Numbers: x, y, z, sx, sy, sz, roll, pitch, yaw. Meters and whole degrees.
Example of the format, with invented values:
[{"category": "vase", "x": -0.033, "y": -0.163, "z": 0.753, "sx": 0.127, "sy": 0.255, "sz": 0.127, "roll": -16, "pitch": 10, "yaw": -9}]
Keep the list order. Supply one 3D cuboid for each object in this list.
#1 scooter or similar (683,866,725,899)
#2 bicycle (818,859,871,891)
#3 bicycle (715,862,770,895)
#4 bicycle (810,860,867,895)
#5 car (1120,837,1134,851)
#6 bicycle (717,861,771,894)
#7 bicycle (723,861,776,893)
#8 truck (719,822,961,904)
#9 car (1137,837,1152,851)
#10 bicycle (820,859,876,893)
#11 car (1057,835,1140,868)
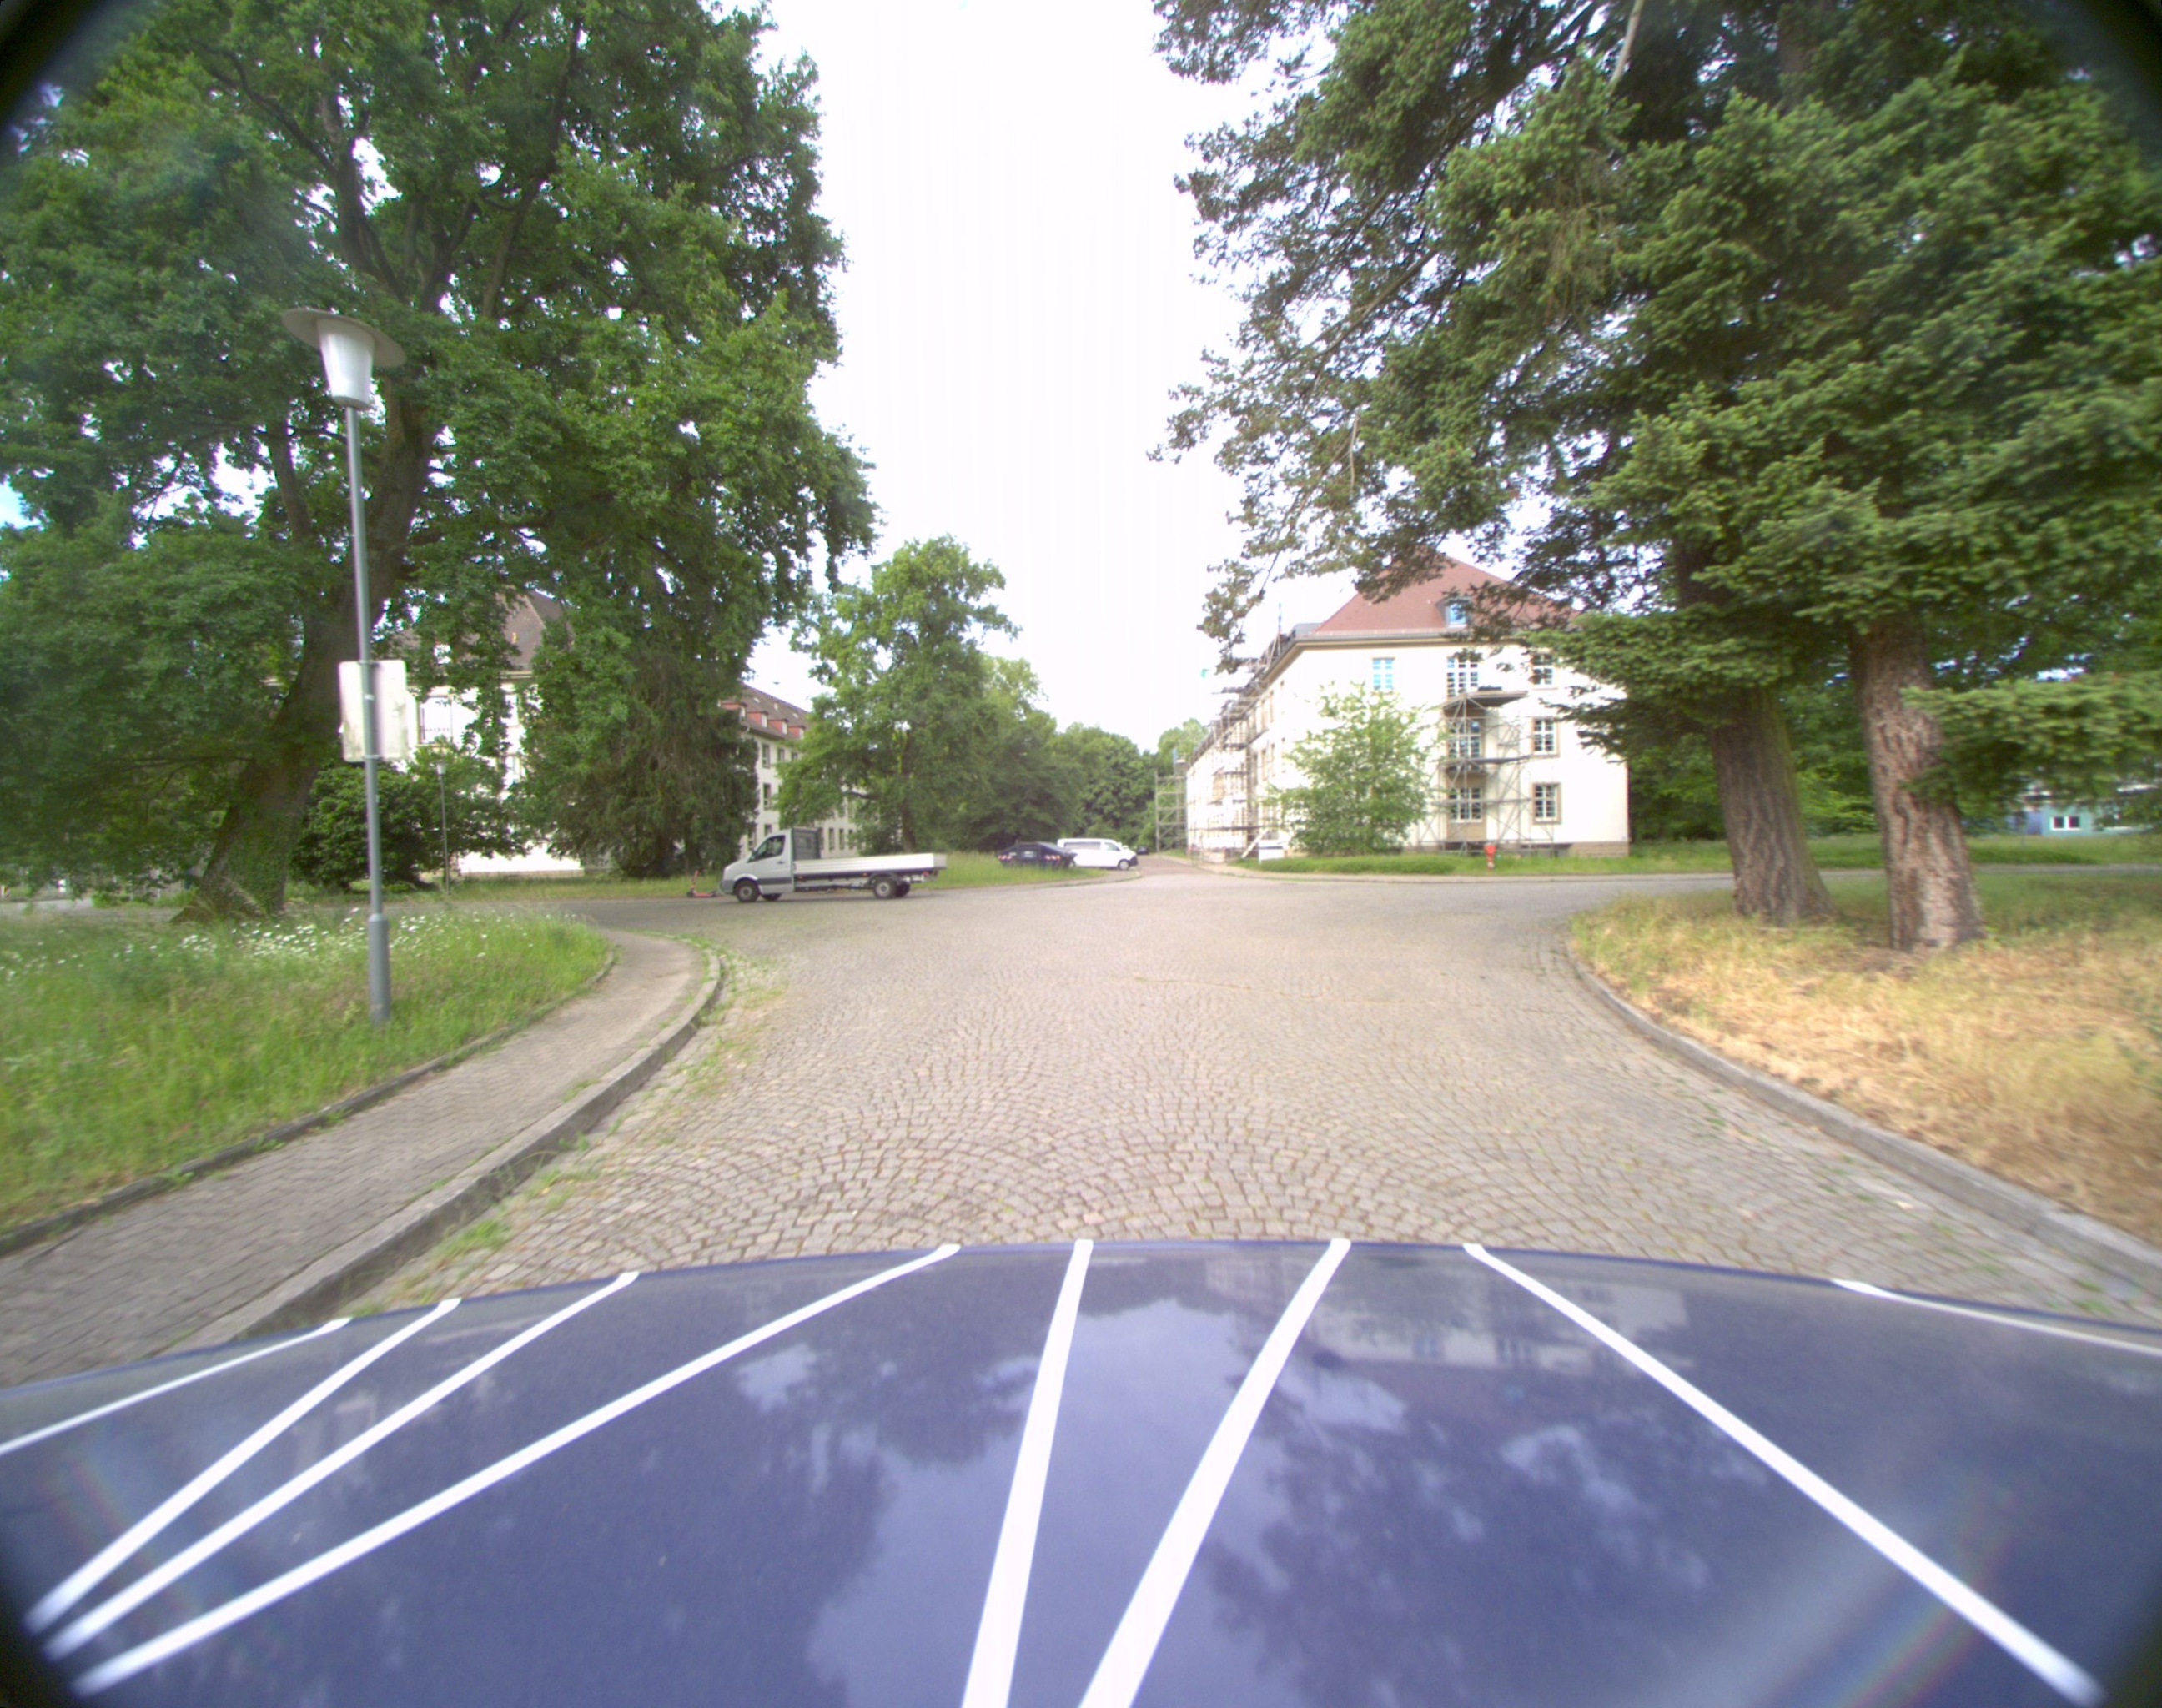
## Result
[{"category": "scooter or similar", "x": -14.050, "y": 1.054, "z": 28.310, "sx": 1.307, "sy": 1.163, "sz": 0.413, "roll": -3, "pitch": 2, "yaw": 2}, {"category": "bicycle", "x": -9.565, "y": 0.829, "z": 30.749, "sx": 1.941, "sy": 1.163, "sz": 0.487, "roll": -4, "pitch": 2, "yaw": -22}, {"category": "bicycle", "x": -12.929, "y": 0.935, "z": 29.040, "sx": 1.861, "sy": 1.163, "sz": 0.487, "roll": -3, "pitch": 2, "yaw": -23}, {"category": "bicycle", "x": -9.085, "y": 0.884, "z": 28.517, "sx": 1.942, "sy": 1.163, "sz": 0.487, "roll": -4, "pitch": 2, "yaw": -25}, {"category": "car", "x": 6.967, "y": -1.501, "z": 114.468, "sx": 1.962, "sy": 2.002, "sz": 4.260, "roll": -1, "pitch": 1, "yaw": 1}, {"category": "bicycle", "x": -13.105, "y": 0.906, "z": 29.615, "sx": 1.861, "sy": 1.163, "sz": 0.487, "roll": -3, "pitch": 2, "yaw": -23}, {"category": "bicycle", "x": -13.199, "y": 0.895, "z": 30.331, "sx": 1.861, "sy": 1.163, "sz": 0.487, "roll": -2, "pitch": 1, "yaw": -19}, {"category": "truck", "x": -7.568, "y": 0.280, "z": 24.301, "sx": 7.081, "sy": 2.353, "sz": 1.993, "roll": -1, "pitch": 0, "yaw": 2}, {"category": "car", "x": 9.511, "y": -1.568, "z": 114.598, "sx": 1.962, "sy": 2.002, "sz": 4.260, "roll": -1, "pitch": 1, "yaw": 1}, {"category": "bicycle", "x": -8.944, "y": 0.832, "z": 29.188, "sx": 1.942, "sy": 1.163, "sz": 0.487, "roll": -4, "pitch": 2, "yaw": -25}, {"category": "car", "x": 1.152, "y": -0.147, "z": 48.497, "sx": 5.148, "sy": 2.002, "sz": 2.000, "roll": -1, "pitch": 2, "yaw": 2}]
